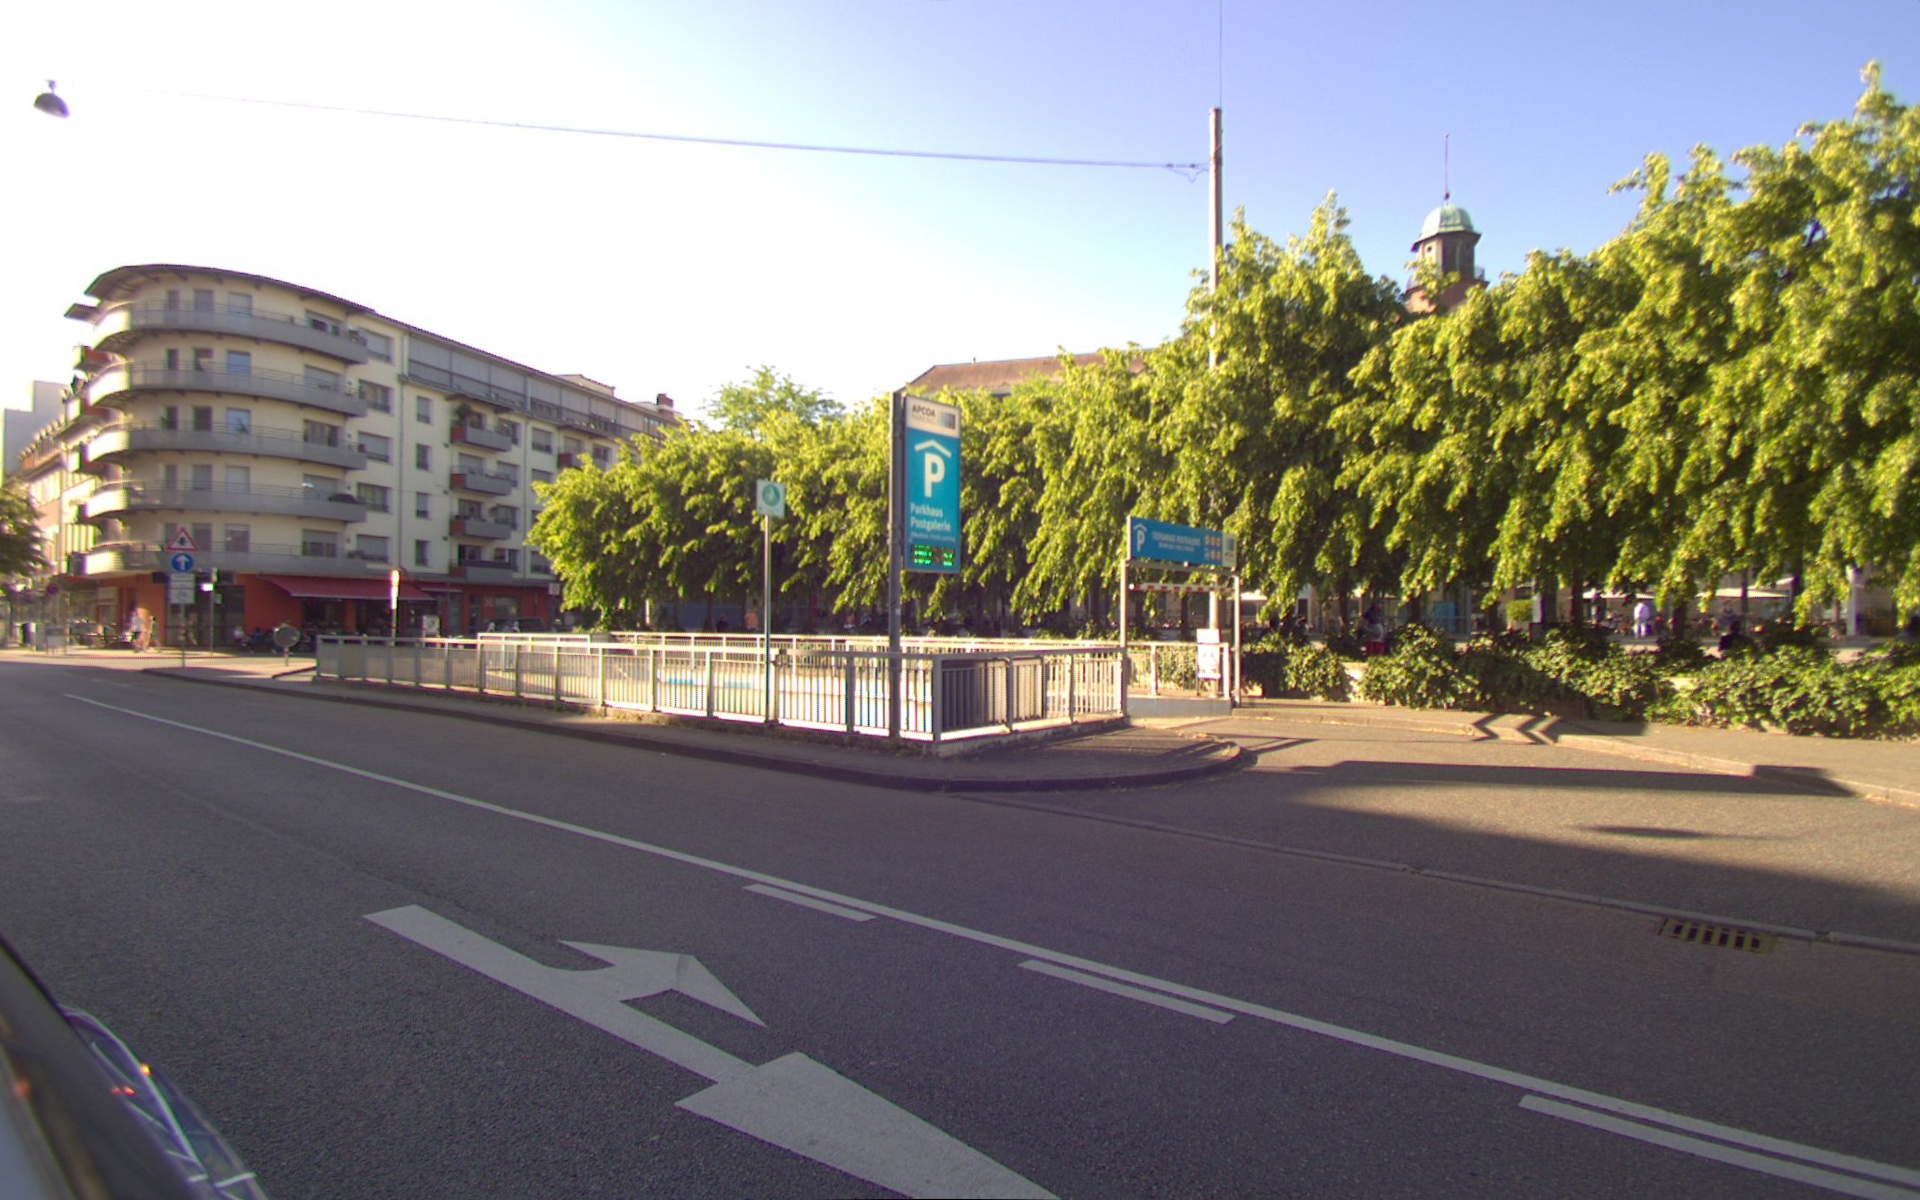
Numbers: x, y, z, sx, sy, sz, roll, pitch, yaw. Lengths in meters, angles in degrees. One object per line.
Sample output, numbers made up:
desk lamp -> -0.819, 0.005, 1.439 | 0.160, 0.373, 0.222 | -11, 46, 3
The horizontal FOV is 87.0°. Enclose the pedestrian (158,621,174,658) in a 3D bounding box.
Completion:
pedestrian -> -37.106, 1.830, 47.289 | 0.515, 1.685, 0.437 | -1, -1, 35

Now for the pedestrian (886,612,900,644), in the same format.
pedestrian -> -3.761, 1.561, 56.693 | 0.578, 1.806, 0.597 | -1, 0, 20

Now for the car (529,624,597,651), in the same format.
car -> -25.852, 2.430, 66.056 | 1.938, 1.633, 4.272 | -1, -1, 16

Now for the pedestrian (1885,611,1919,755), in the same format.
pedestrian -> 12.714, 1.085, 13.342 | 0.732, 1.870, 0.574 | -1, -1, 44

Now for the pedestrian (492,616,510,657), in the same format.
pedestrian -> -20.715, 1.653, 45.644 | 0.574, 1.806, 0.602 | -1, 0, -5

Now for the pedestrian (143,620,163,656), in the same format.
pedestrian -> -37.394, 1.750, 46.892 | 0.792, 1.634, 0.563 | -1, -1, 38

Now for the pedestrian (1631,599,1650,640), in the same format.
pedestrian -> 29.808, 0.848, 44.306 | 0.598, 1.806, 0.577 | -1, -1, 27

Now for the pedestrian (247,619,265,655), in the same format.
pedestrian -> -33.544, 1.764, 48.224 | 0.642, 1.721, 0.568 | -2, -2, 43

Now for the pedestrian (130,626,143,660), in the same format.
pedestrian -> -37.745, 1.953, 46.399 | 0.515, 1.541, 0.371 | -1, -1, 38

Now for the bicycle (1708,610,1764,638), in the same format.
bicycle -> 30.478, 0.933, 39.784 | 0.496, 1.024, 2.061 | -1, 0, -3

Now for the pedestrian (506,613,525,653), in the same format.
pedestrian -> -20.370, 1.502, 46.399 | 0.574, 1.806, 0.601 | -1, 0, 0

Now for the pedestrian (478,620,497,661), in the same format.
pedestrian -> -20.960, 1.795, 44.909 | 0.574, 1.806, 0.602 | -1, 0, -5

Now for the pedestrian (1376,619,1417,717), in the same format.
pedestrian -> 8.579, 1.314, 19.871 | 0.600, 1.870, 0.575 | -1, -1, 38

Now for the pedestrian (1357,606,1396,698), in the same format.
pedestrian -> 8.673, 1.067, 21.065 | 0.674, 1.870, 0.577 | -1, -1, 30

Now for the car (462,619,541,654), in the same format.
car -> -27.389, 2.151, 60.590 | 1.938, 1.927, 4.403 | -1, -1, 16

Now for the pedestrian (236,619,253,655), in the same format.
pedestrian -> -34.270, 1.765, 48.486 | 0.642, 1.721, 0.568 | -2, -2, 43
